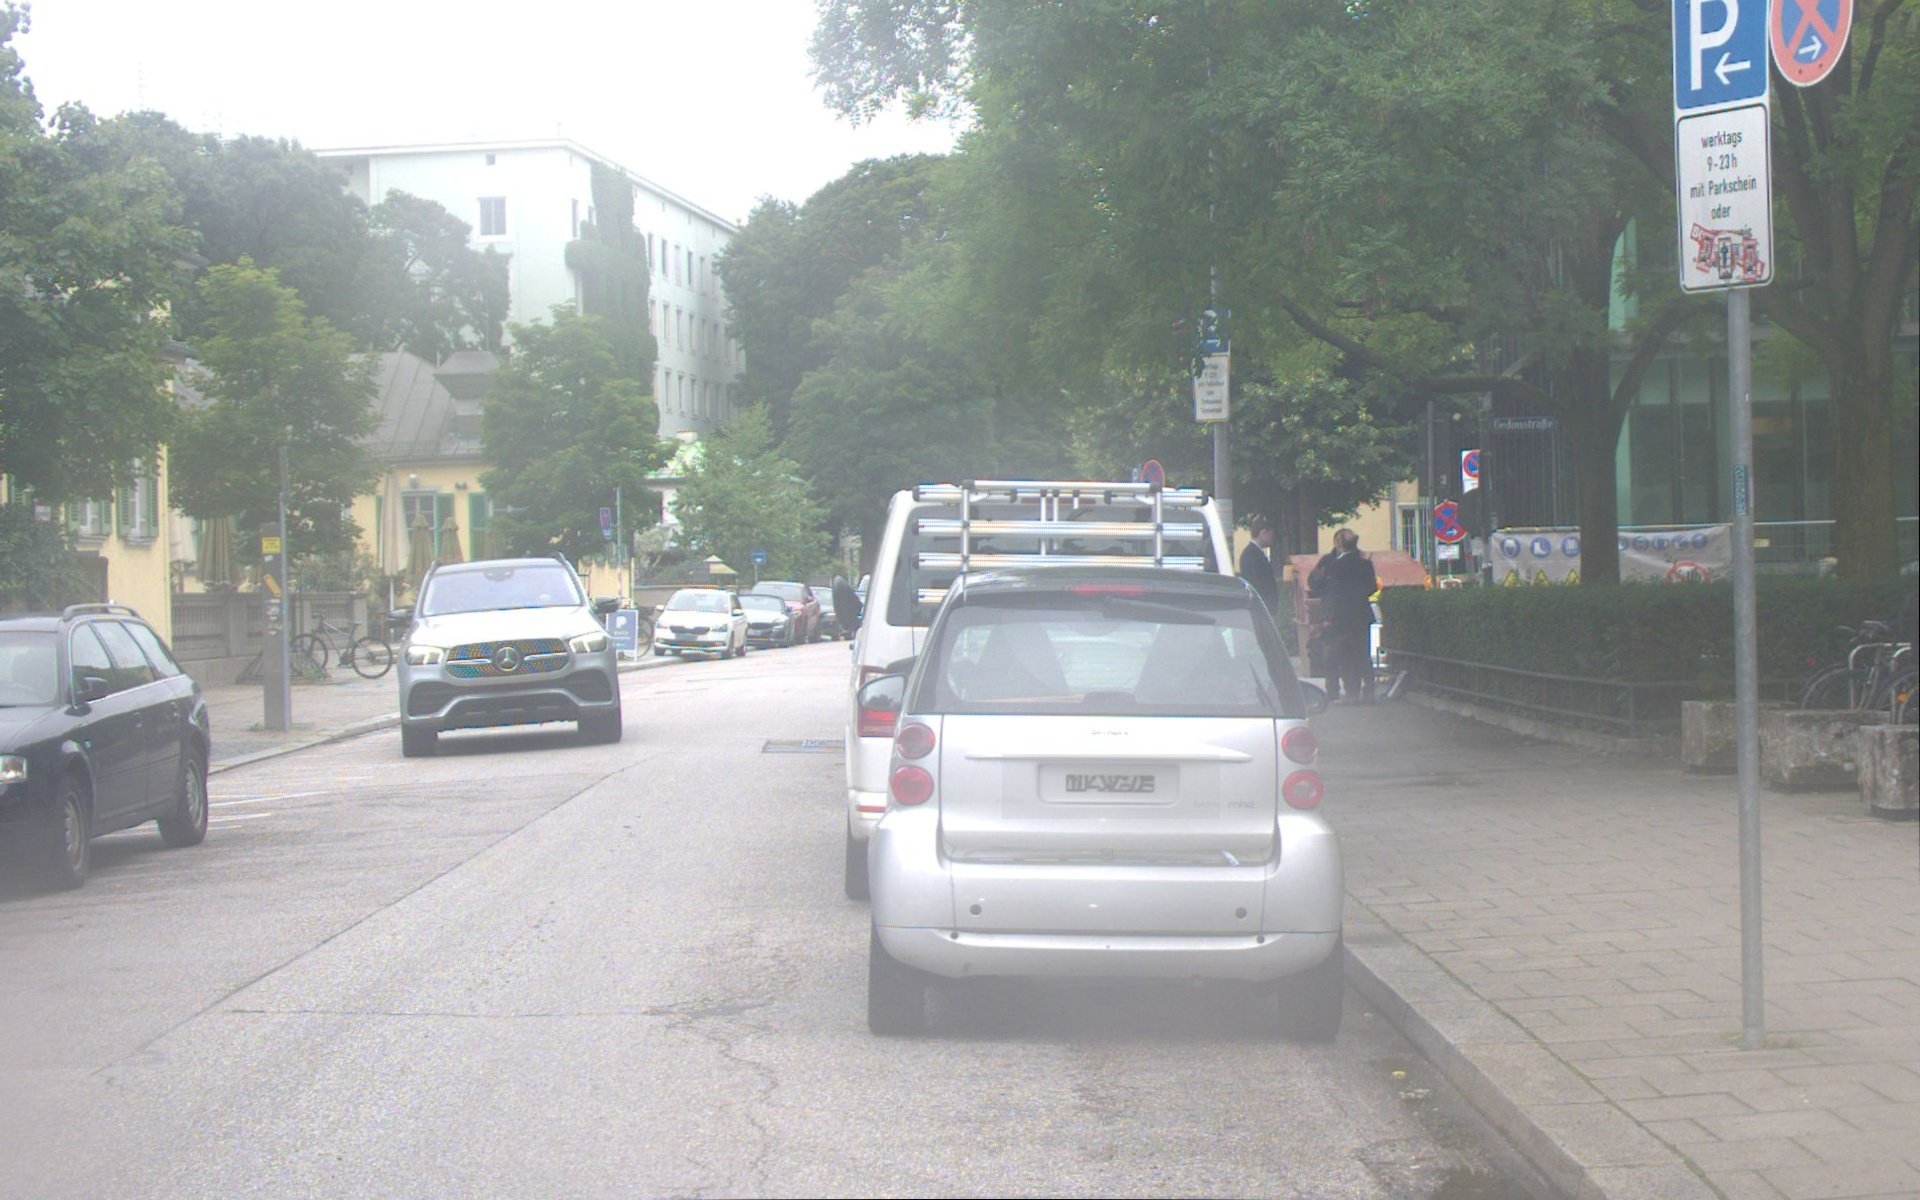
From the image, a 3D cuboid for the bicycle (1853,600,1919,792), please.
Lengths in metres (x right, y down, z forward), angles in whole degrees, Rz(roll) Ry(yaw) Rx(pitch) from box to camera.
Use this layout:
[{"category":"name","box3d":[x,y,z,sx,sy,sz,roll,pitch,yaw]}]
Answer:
[{"category":"bicycle","box3d":[6.373,0.533,20.494,1.931,1.110,0.471,-2,0,2]}]

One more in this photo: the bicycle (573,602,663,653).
[{"category":"bicycle","box3d":[-7.031,0.558,70.768,0.623,1.001,2.136,2,1,33]}]

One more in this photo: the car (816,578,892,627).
[{"category":"car","box3d":[-3.393,0.067,110.780,1.994,1.481,3.999,-1,1,4]}]

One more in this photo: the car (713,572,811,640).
[{"category":"car","box3d":[-5.030,0.125,87.856,1.994,1.643,4.655,-1,0,3]}]

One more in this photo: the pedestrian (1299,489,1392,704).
[{"category":"pedestrian","box3d":[3.914,-0.037,35.007,0.742,2.127,1.056,-2,0,-1]}]

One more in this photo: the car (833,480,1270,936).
[{"category":"car","box3d":[0.335,0.448,17.495,1.845,1.926,5.273,1,0,-1]}]

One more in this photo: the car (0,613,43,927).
[{"category":"car","box3d":[-5.332,0.829,14.069,1.922,1.434,4.918,-3,0,-2]}]

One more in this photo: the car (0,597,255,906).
[{"category":"car","box3d":[-5.526,0.783,19.331,1.993,1.486,4.883,-3,0,1]}]

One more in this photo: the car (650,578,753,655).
[{"category":"car","box3d":[-5.635,0.342,75.270,1.734,1.576,3.787,2,0,3]}]

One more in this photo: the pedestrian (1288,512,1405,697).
[{"category":"pedestrian","box3d":[4.071,0.041,36.220,0.744,1.901,1.054,-2,0,35]}]

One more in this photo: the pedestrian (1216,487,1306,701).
[{"category":"pedestrian","box3d":[3.073,-0.065,35.194,0.742,2.127,1.056,-2,0,-1]}]

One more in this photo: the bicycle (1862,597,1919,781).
[{"category":"bicycle","box3d":[6.637,0.513,21.283,1.931,1.110,0.471,-2,0,2]}]

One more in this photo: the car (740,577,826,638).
[{"category":"car","box3d":[-4.758,0.221,92.937,1.993,1.597,4.000,-1,0,1]}]

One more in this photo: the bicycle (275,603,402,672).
[{"category":"bicycle","box3d":[-10.106,0.605,55.895,1.931,1.095,0.615,1,0,3]}]

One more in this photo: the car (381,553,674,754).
[{"category":"car","box3d":[-3.955,0.440,32.250,2.025,1.683,4.677,-2,1,1]}]

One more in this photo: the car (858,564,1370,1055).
[{"category":"car","box3d":[0.486,0.653,12.394,1.605,1.541,2.934,1,0,0]}]

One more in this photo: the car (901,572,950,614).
[{"category":"car","box3d":[-1.398,-0.295,142.111,1.810,1.677,4.000,-1,1,2]}]
